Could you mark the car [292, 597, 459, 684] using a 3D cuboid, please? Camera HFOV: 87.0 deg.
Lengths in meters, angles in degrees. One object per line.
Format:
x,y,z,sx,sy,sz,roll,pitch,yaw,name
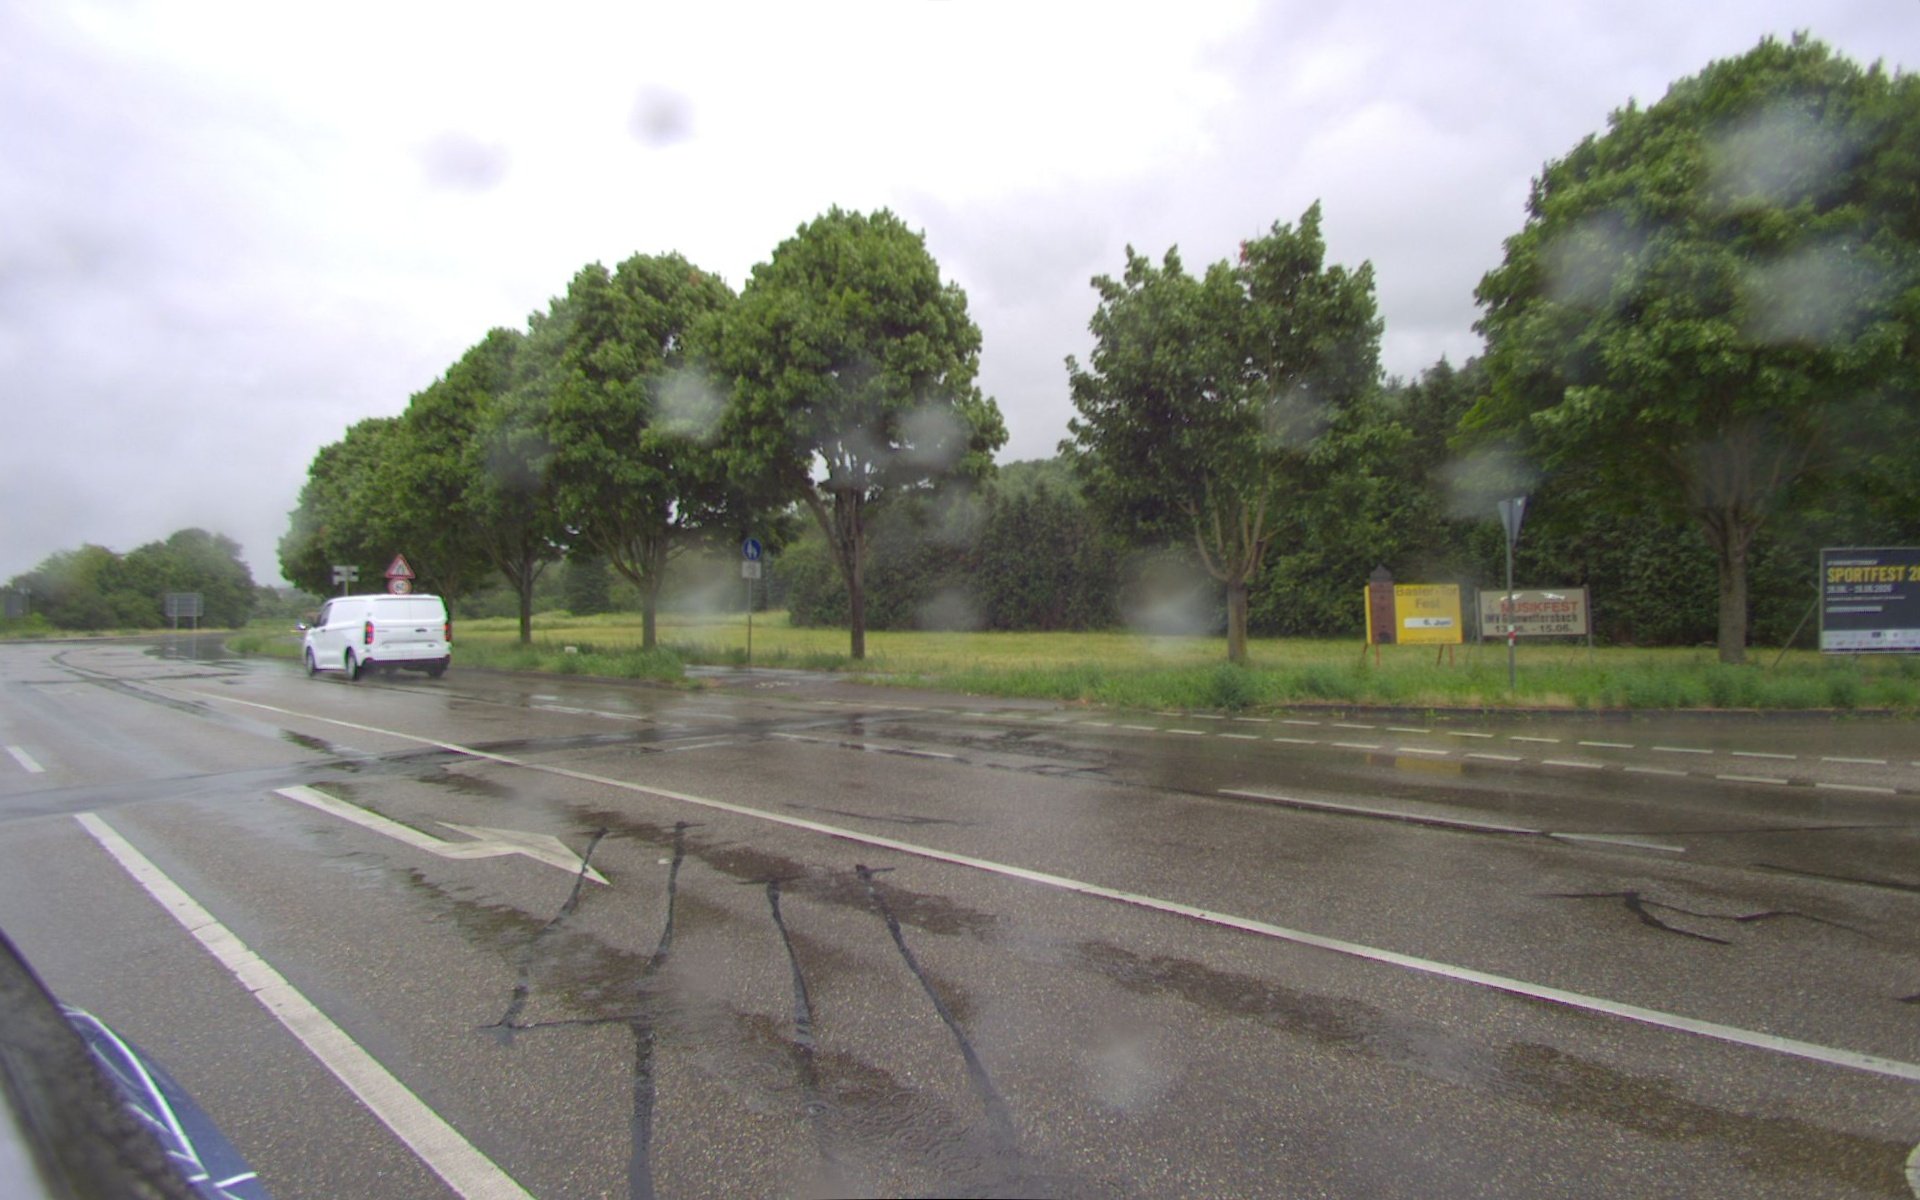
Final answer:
-14.159,0.915,24.412,4.789,1.907,2.084,-1,-1,42,car
